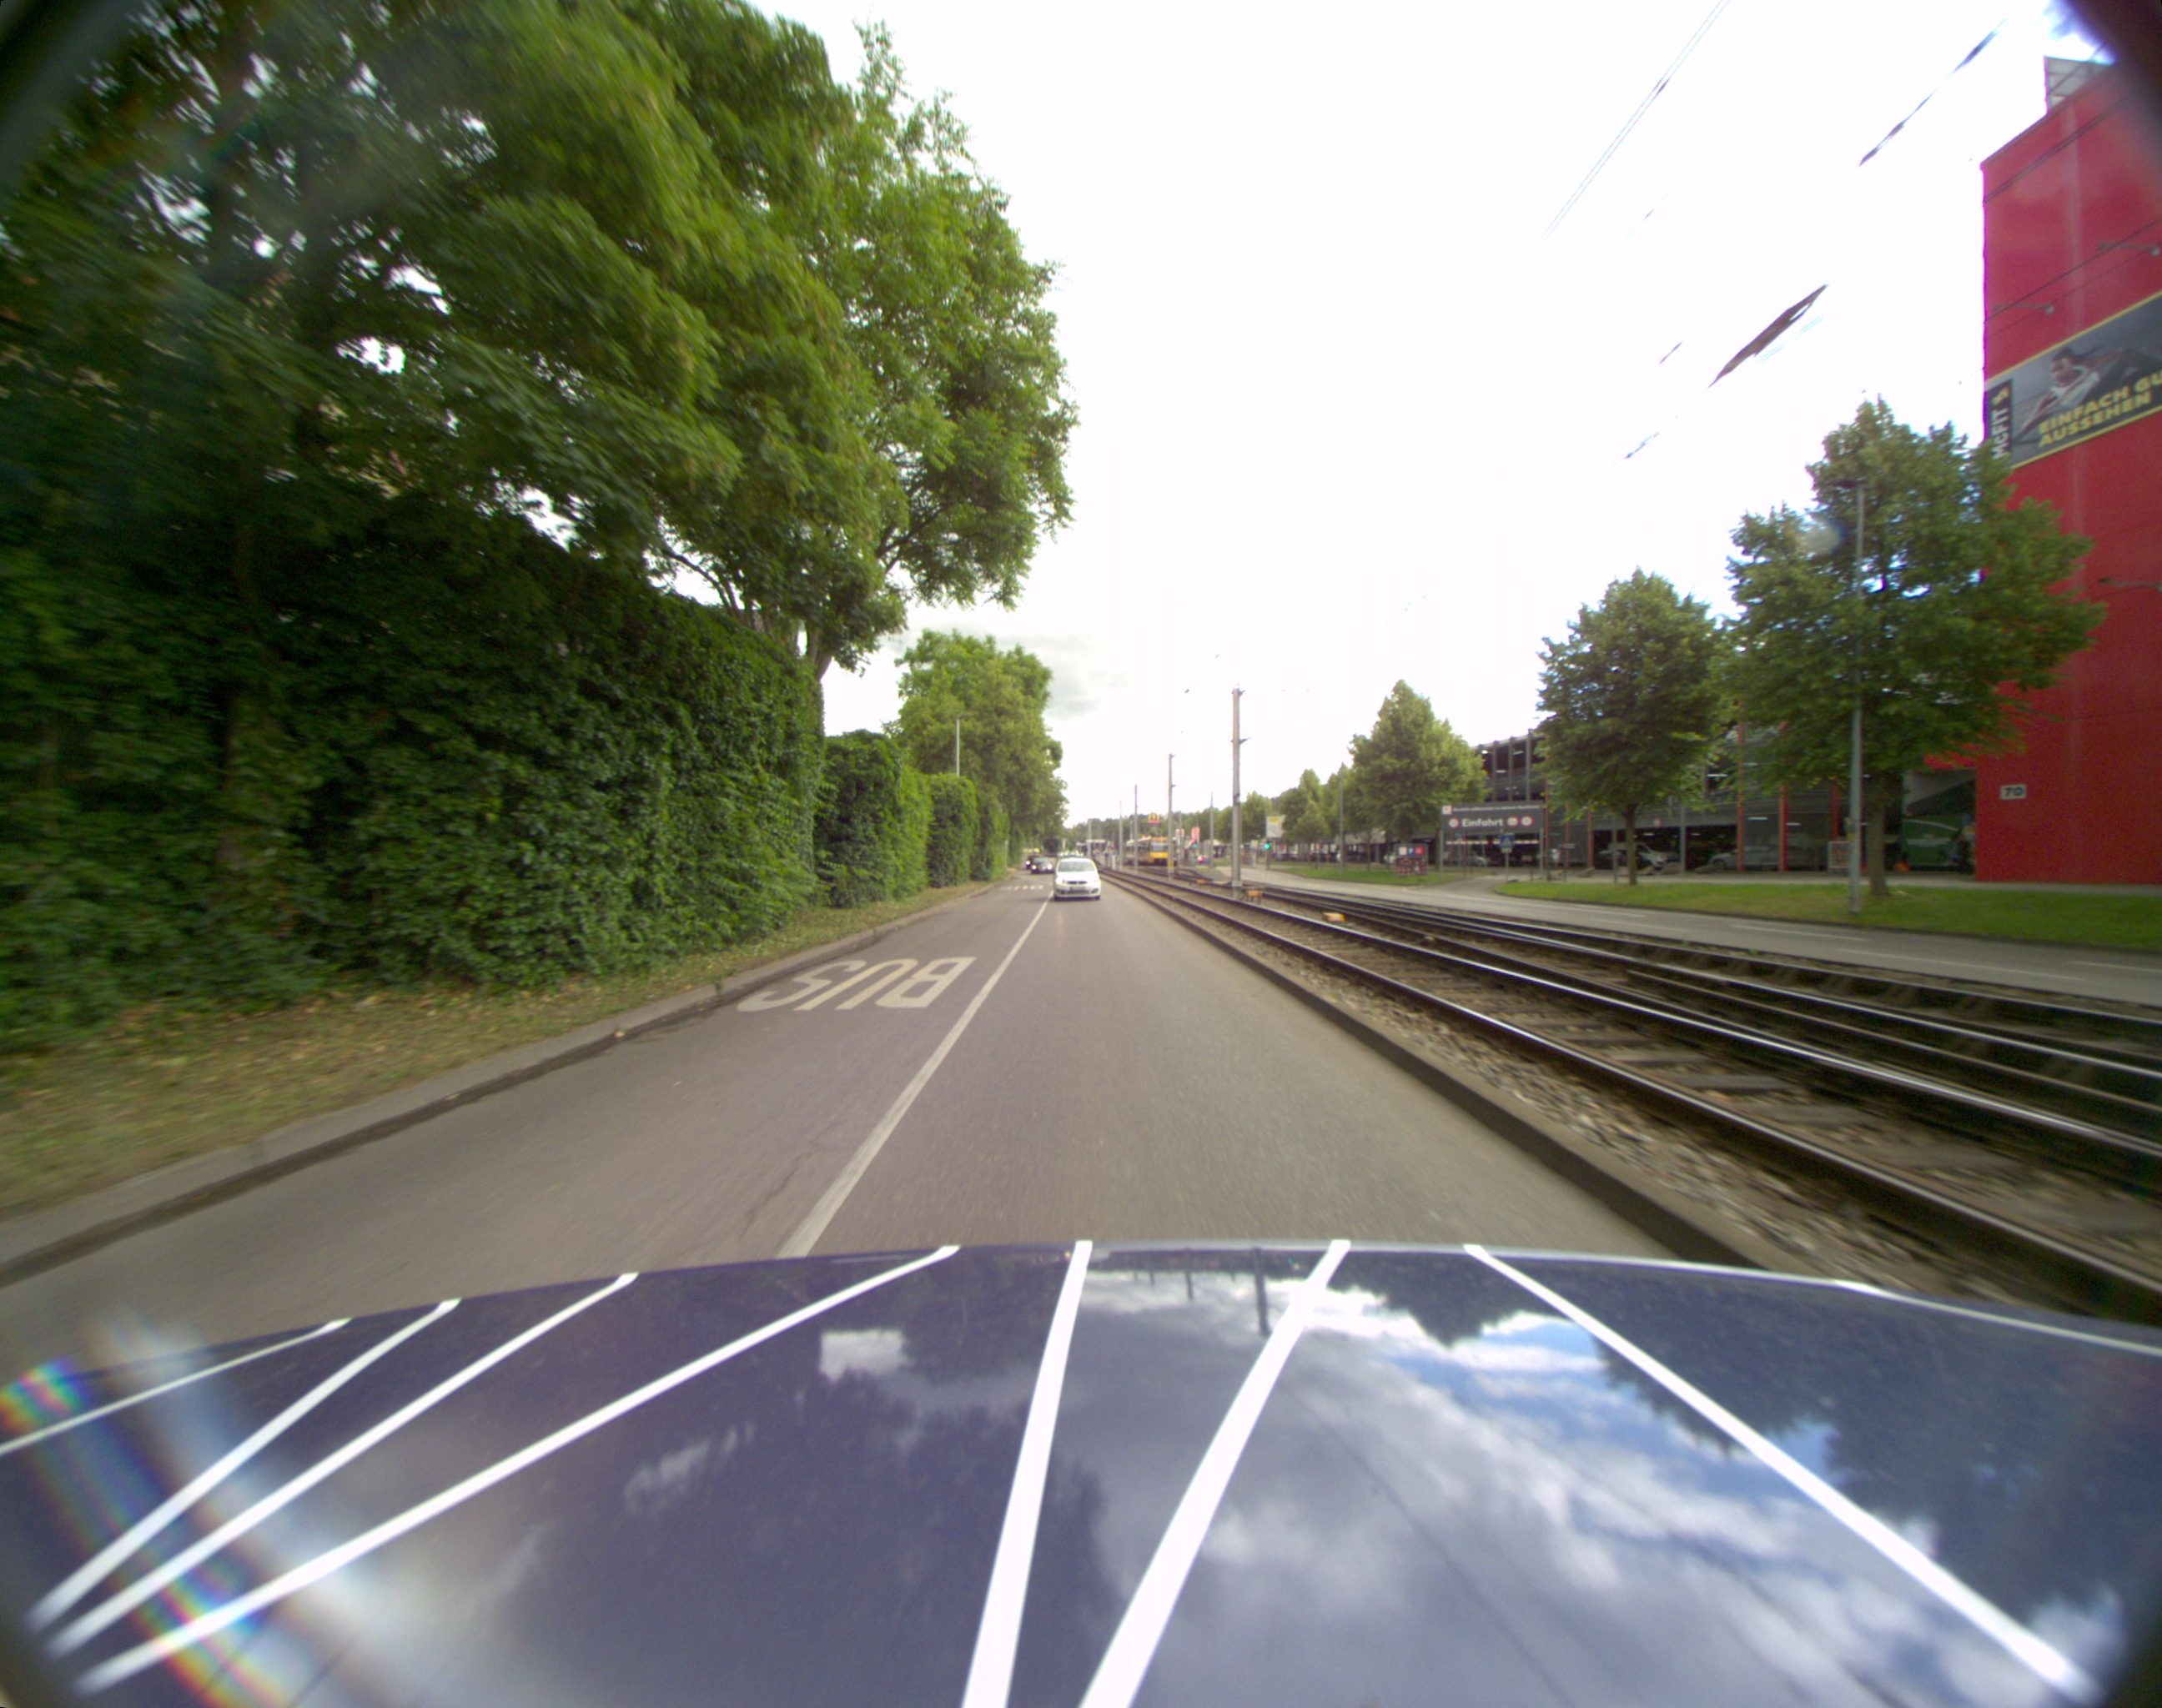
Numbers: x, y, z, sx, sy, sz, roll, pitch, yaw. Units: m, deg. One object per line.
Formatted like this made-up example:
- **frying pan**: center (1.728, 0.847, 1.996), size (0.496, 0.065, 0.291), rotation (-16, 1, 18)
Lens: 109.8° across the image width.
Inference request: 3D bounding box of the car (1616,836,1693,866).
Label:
- **car**: center (40.279, -0.194, 53.523), size (1.999, 2.002, 4.404), rotation (-1, 0, -2)

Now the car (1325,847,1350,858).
- **car**: center (38.422, -0.191, 113.910), size (1.999, 1.618, 4.404), rotation (-1, 0, -2)

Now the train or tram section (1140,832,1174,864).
- **train or tram section**: center (9.577, -0.776, 96.787), size (2.778, 3.753, 13.785), rotation (-1, 0, 0)

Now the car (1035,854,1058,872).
- **car**: center (-3.037, 0.774, 68.120), size (1.714, 1.586, 4.000), rotation (-1, 0, 1)

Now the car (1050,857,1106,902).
- **car**: center (-0.171, 0.876, 27.834), size (1.765, 1.469, 4.029), rotation (-2, 0, -4)

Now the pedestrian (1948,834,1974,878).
- **pedestrian**: center (38.702, 0.086, 33.426), size (0.584, 1.915, 0.653), rotation (-1, 1, -32)

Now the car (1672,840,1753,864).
- **car**: center (44.617, -0.153, 53.819), size (1.999, 1.640, 4.404), rotation (-1, 0, -2)

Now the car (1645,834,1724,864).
- **car**: center (42.523, -0.318, 53.667), size (1.999, 2.002, 4.404), rotation (-1, 0, -2)

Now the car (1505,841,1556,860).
- **car**: center (41.321, -0.288, 69.979), size (1.999, 1.689, 4.404), rotation (-1, 0, -2)

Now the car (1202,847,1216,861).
- **car**: center (19.304, 0.033, 114.830), size (1.997, 2.002, 4.002), rotation (-1, 0, 7)

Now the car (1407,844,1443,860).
- **car**: center (39.172, -0.217, 86.640), size (1.999, 1.689, 4.404), rotation (-1, 0, -2)

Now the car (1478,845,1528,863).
- **car**: center (38.775, -0.017, 69.904), size (1.999, 1.618, 4.404), rotation (-1, 0, -2)
